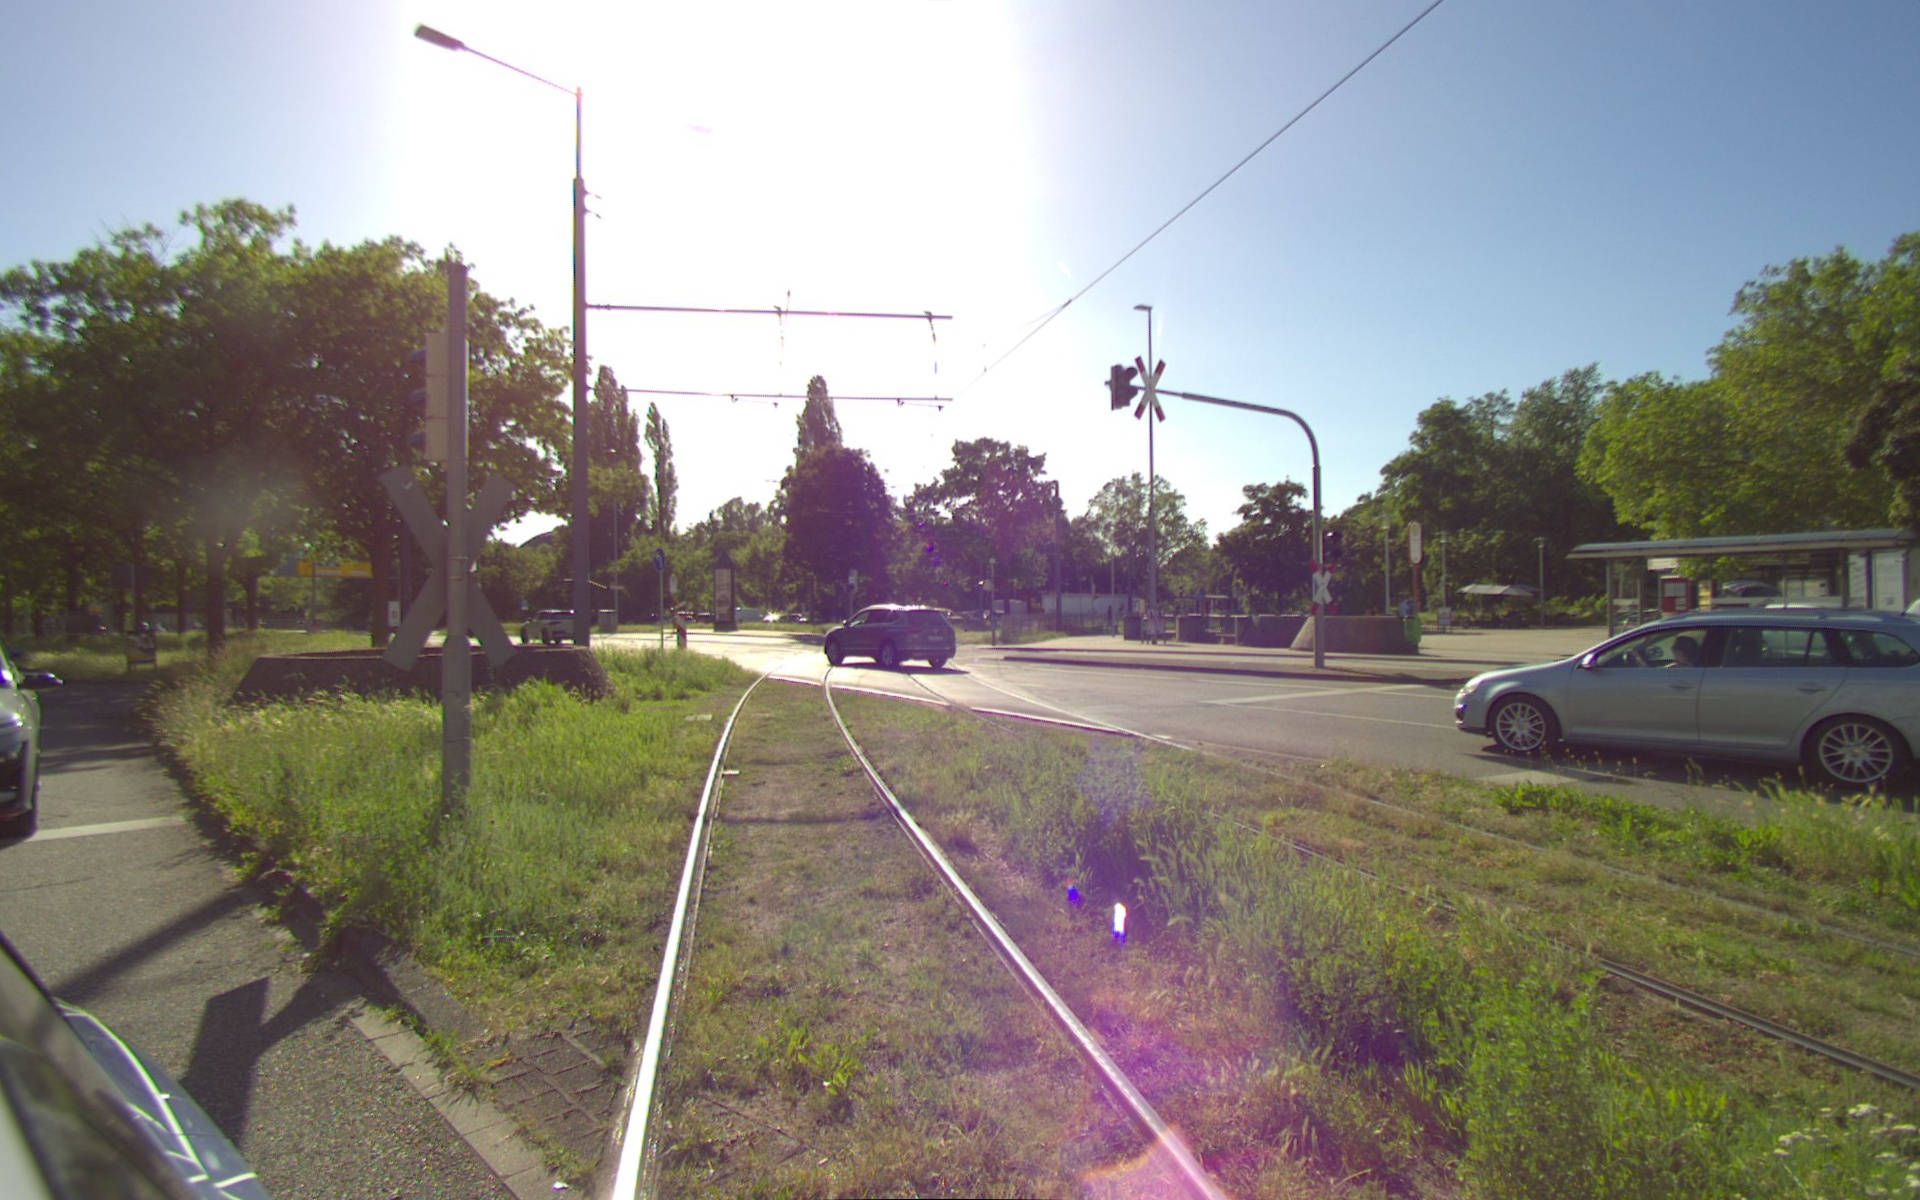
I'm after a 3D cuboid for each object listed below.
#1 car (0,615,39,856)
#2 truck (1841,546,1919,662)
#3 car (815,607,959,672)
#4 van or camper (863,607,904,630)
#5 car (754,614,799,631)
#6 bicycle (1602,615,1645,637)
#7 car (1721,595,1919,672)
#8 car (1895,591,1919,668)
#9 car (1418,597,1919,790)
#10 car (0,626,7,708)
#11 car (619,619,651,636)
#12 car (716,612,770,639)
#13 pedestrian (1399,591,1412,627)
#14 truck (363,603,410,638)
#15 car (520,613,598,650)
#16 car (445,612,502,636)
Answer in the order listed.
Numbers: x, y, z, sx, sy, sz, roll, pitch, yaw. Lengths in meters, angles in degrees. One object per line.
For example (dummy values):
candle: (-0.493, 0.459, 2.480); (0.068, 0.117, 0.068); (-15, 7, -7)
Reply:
car: (-8.142, 0.922, 7.586); (1.754, 1.563, 3.985); (0, -1, -41)
truck: (27.209, 0.052, 27.593); (4.753, 3.017, 2.003); (-1, -1, -7)
car: (-2.115, 1.037, 27.908); (1.730, 1.626, 4.735); (0, -1, -35)
van or camper: (-7.185, 1.707, 94.367); (1.966, 2.112, 4.413); (0, -1, -33)
car: (-14.459, 1.756, 79.828); (1.981, 1.292, 3.981); (-1, 0, 15)
bicycle: (26.598, 1.017, 40.600); (0.540, 0.845, 1.686); (-1, -1, -2)
car: (20.914, 0.725, 24.037); (1.844, 1.555, 4.555); (-4, 0, -6)
car: (23.779, 0.616, 22.448); (1.733, 1.730, 4.013); (-4, 0, -22)
car: (7.150, 0.753, 9.541); (1.707, 1.453, 4.891); (-2, 0, -39)
car: (-20.171, 1.316, 20.125); (1.720, 1.560, 4.003); (0, -1, -44)
car: (-27.957, 2.341, 86.995); (1.791, 1.459, 4.012); (0, -1, -30)
car: (-17.372, 2.029, 81.197); (2.218, 2.029, 4.975); (-1, -1, 15)
pedestrian: (22.928, 0.446, 52.105); (0.557, 1.843, 0.721); (-1, -1, 27)
truck: (-41.763, 1.473, 73.680); (4.108, 2.445, 1.769); (-1, -1, 41)
car: (-18.352, 1.407, 46.181); (1.969, 1.574, 4.393); (-1, -1, -41)
car: (-31.006, 1.535, 64.480); (4.398, 1.459, 1.646); (-1, -1, 40)
